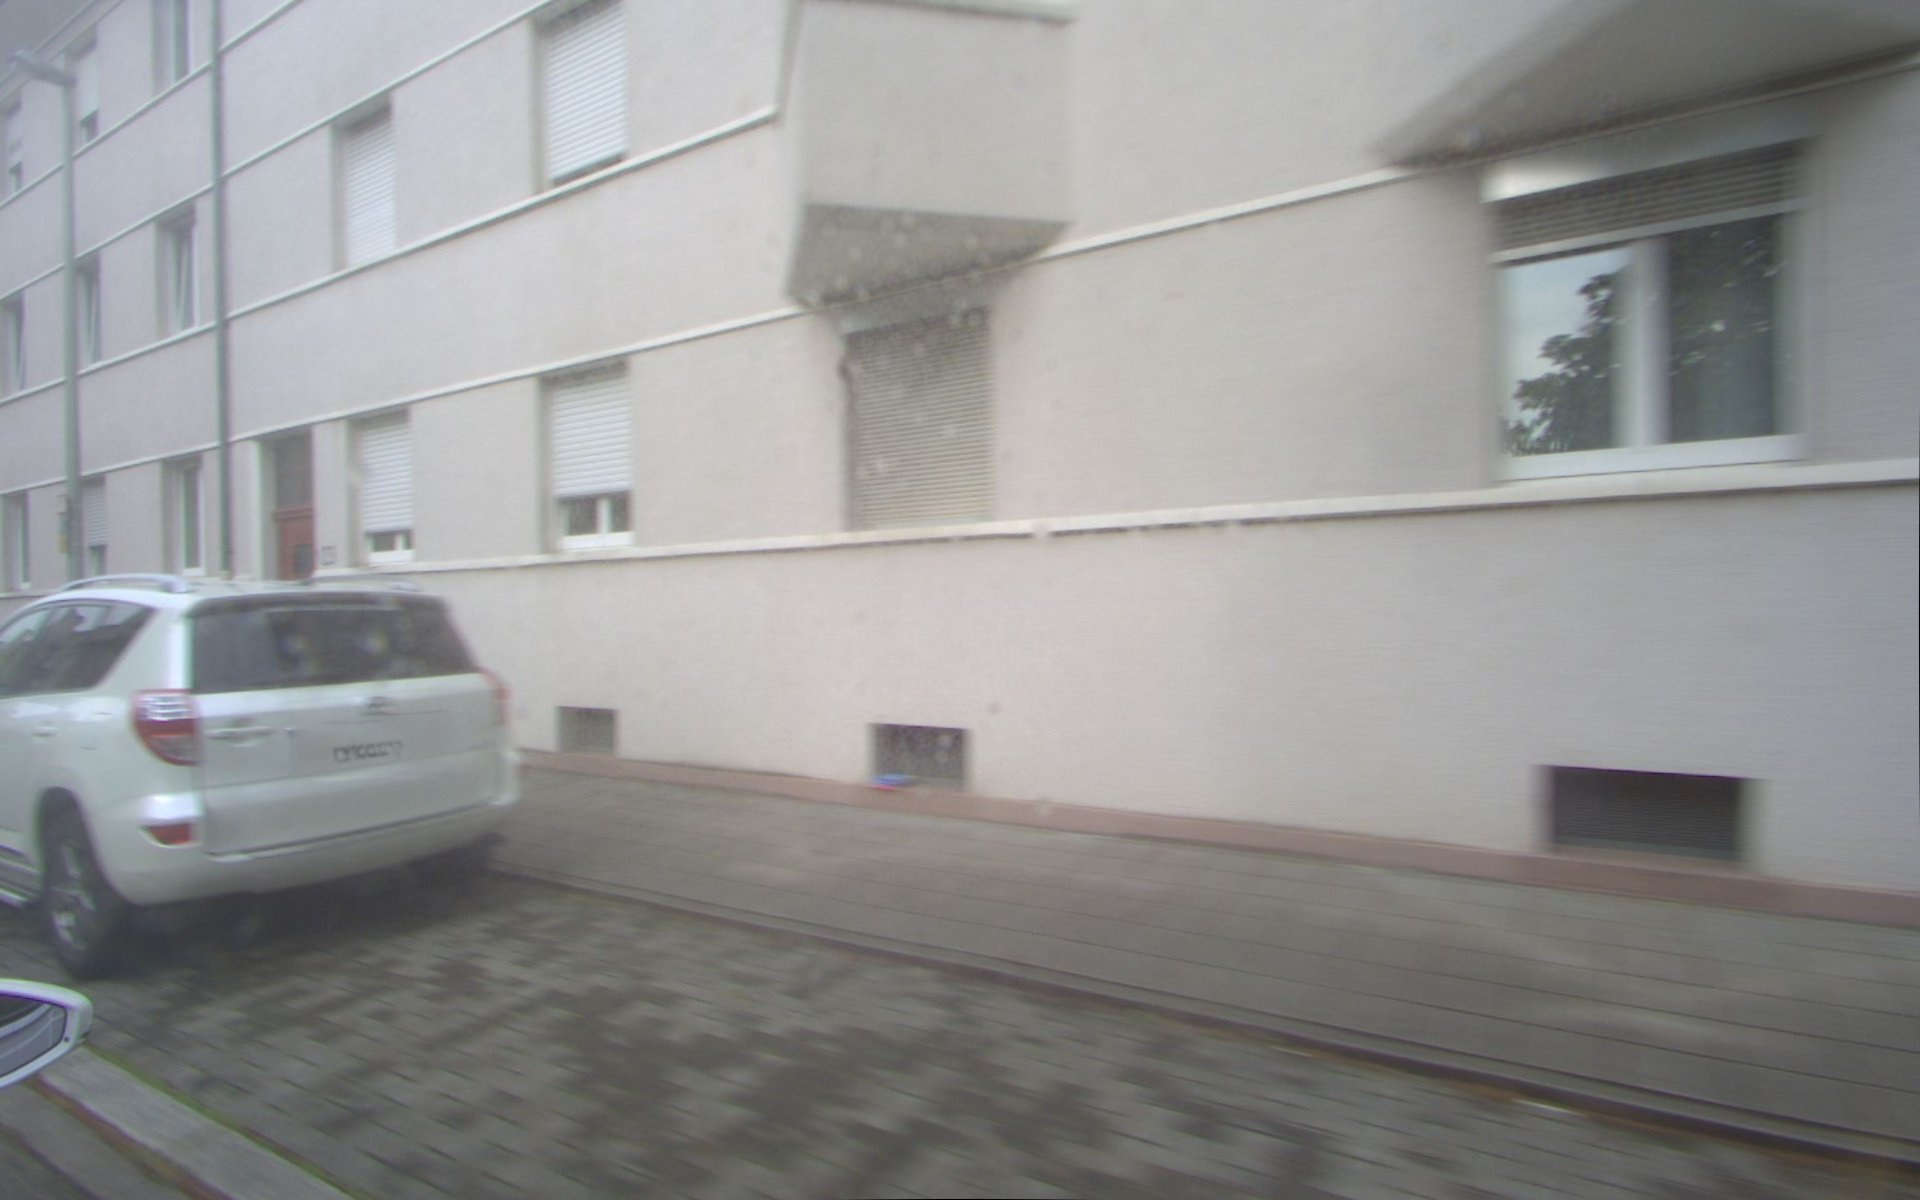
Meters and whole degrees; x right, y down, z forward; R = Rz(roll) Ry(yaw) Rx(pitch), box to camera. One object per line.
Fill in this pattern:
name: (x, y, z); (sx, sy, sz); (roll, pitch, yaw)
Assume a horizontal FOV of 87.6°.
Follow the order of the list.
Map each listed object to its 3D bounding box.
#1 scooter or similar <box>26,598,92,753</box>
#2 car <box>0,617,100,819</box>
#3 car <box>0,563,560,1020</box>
scooter or similar: (-12.161, 1.009, 13.529); (0.340, 2.038, 0.677); (2, -2, -19)
car: (-8.857, 0.912, 8.357); (3.817, 1.498, 1.563); (-1, 0, 33)
car: (-4.405, 0.730, 5.576); (4.226, 1.696, 1.839); (-1, 0, 31)
